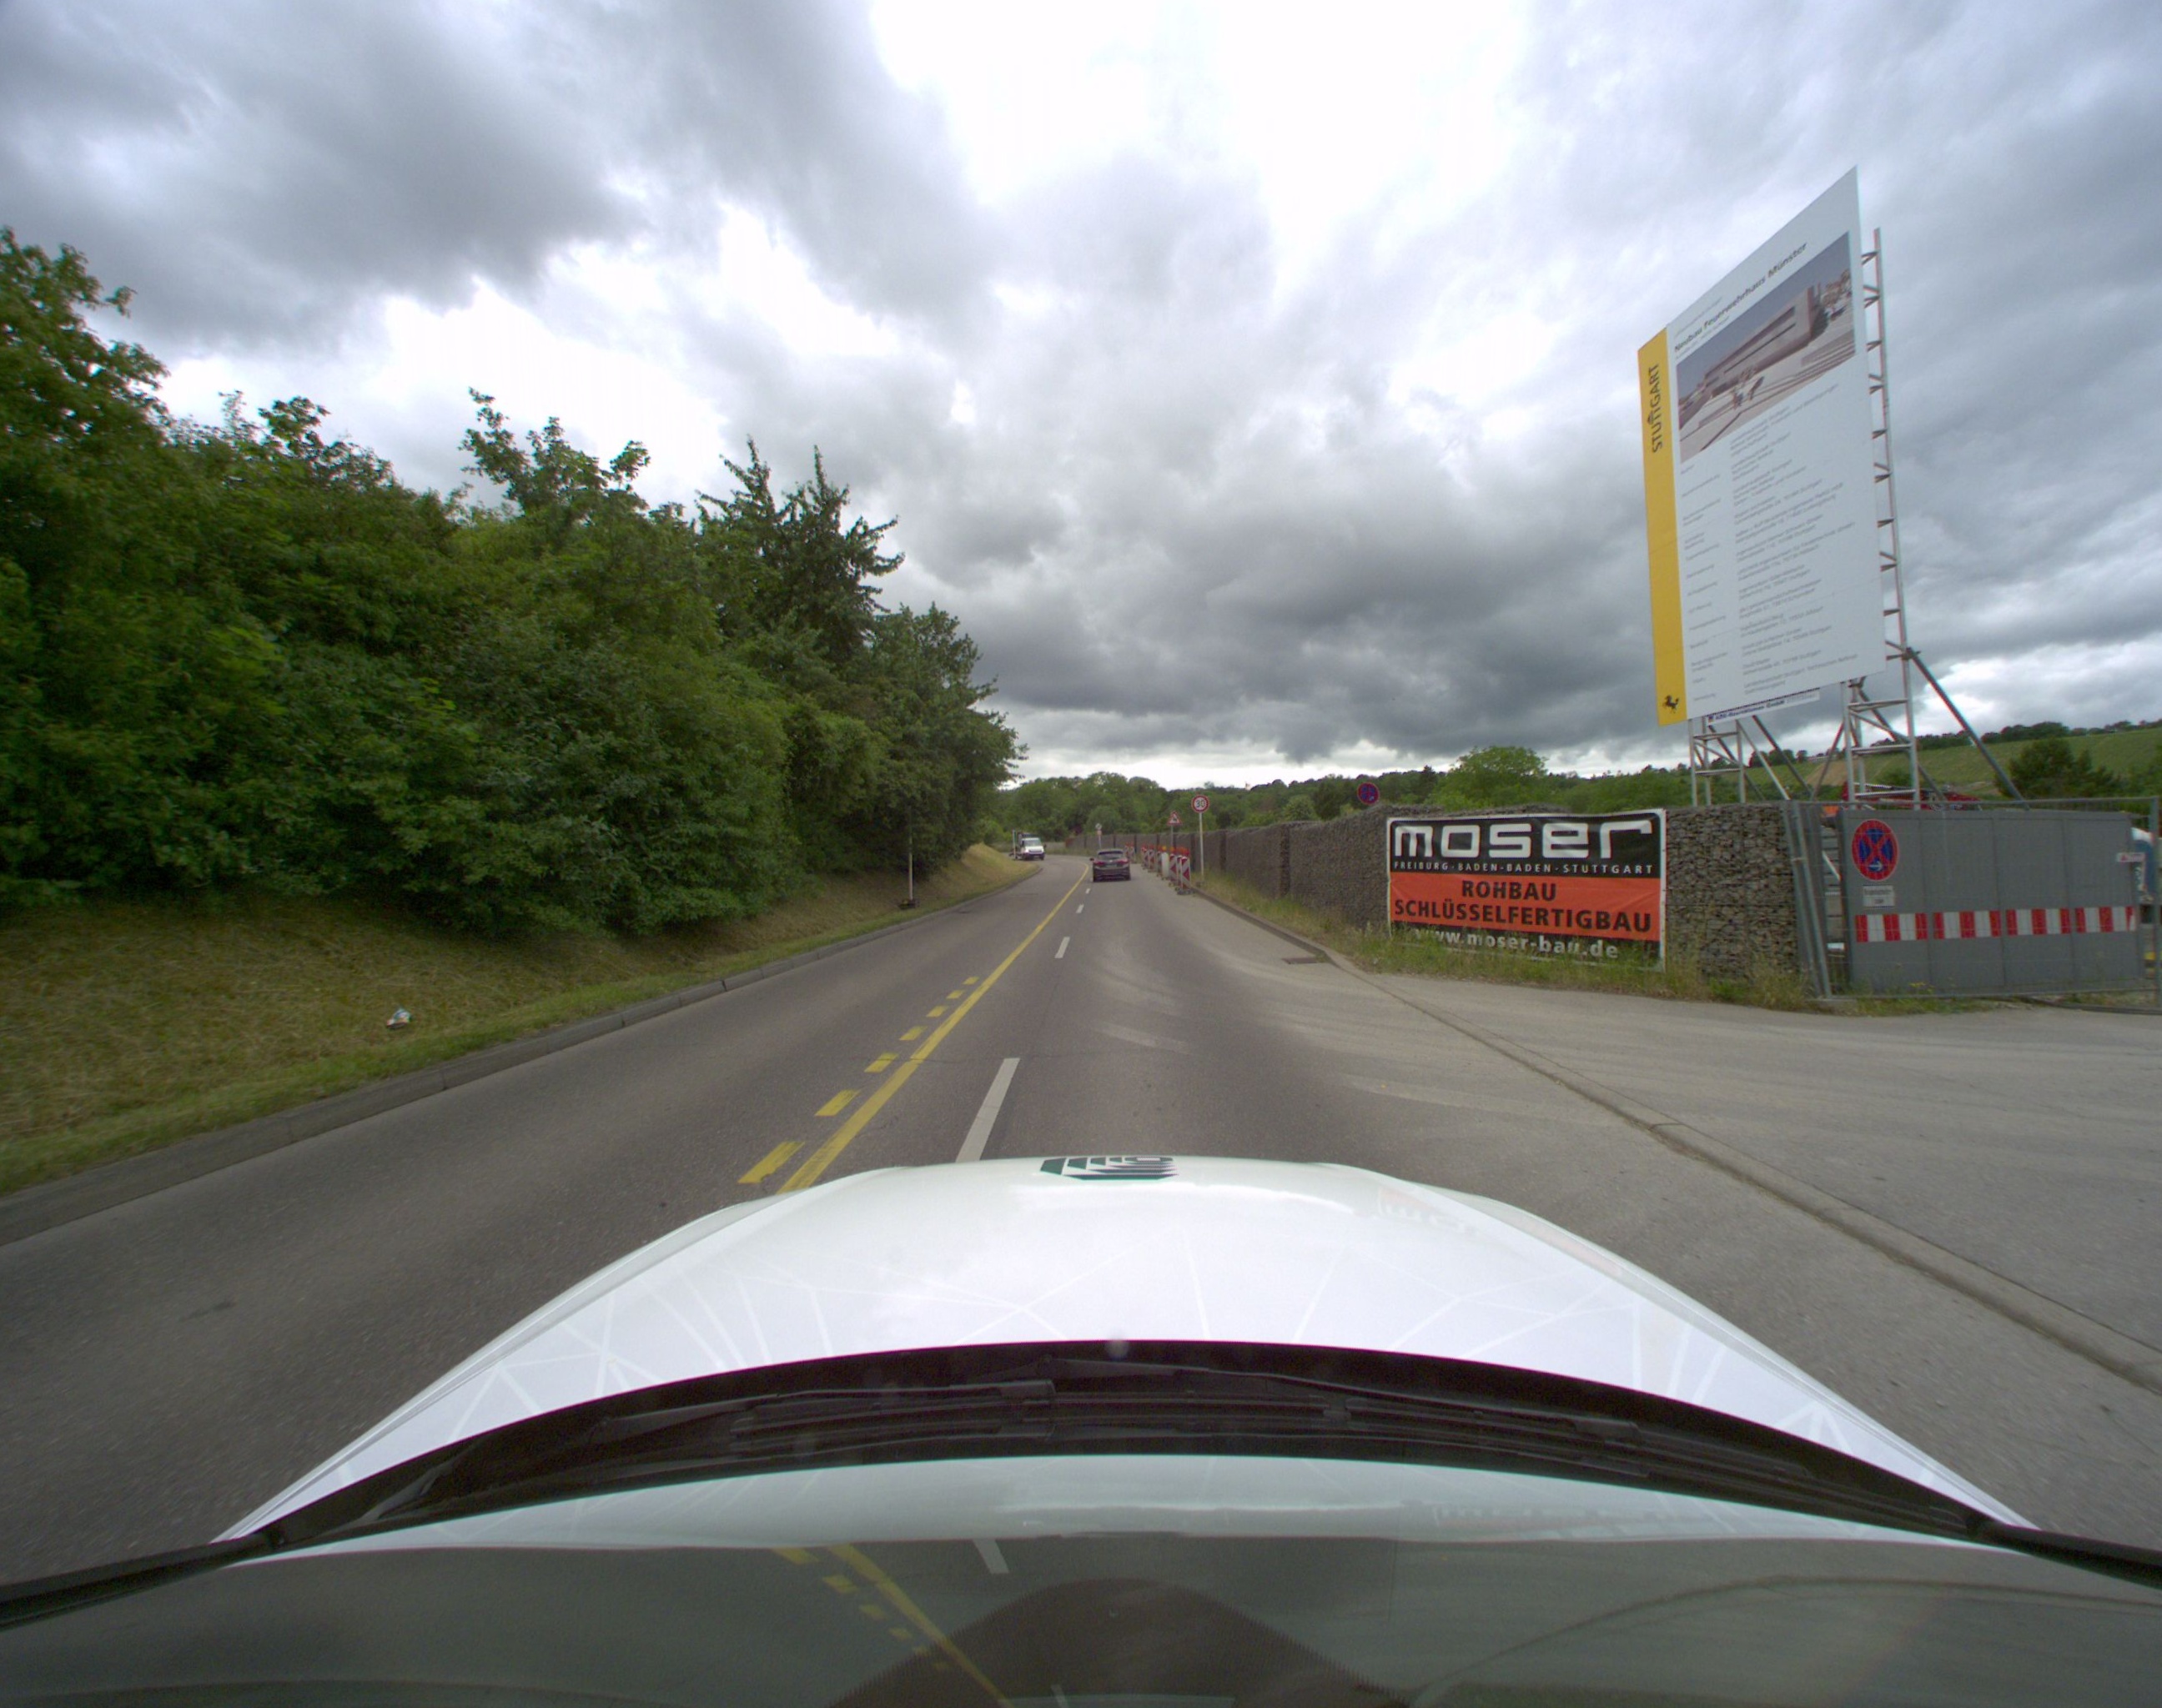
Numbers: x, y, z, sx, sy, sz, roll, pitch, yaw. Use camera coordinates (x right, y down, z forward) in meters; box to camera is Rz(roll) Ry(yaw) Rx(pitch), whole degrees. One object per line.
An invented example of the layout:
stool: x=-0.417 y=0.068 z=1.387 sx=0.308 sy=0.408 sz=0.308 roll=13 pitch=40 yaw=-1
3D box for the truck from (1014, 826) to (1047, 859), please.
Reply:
truck: x=-5.146 y=-1.124 z=82.104 sx=2.216 sy=3.014 sz=7.710 roll=-3 pitch=1 yaw=-11

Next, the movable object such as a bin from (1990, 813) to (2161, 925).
movable object such as a bin: x=24.938 y=0.383 z=20.342 sx=2.708 sy=2.585 sz=2.012 roll=-1 pitch=-2 yaw=42

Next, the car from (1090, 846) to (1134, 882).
car: x=1.429 y=0.437 z=39.420 sx=1.834 sy=1.483 sz=3.999 roll=-4 pitch=1 yaw=-1
